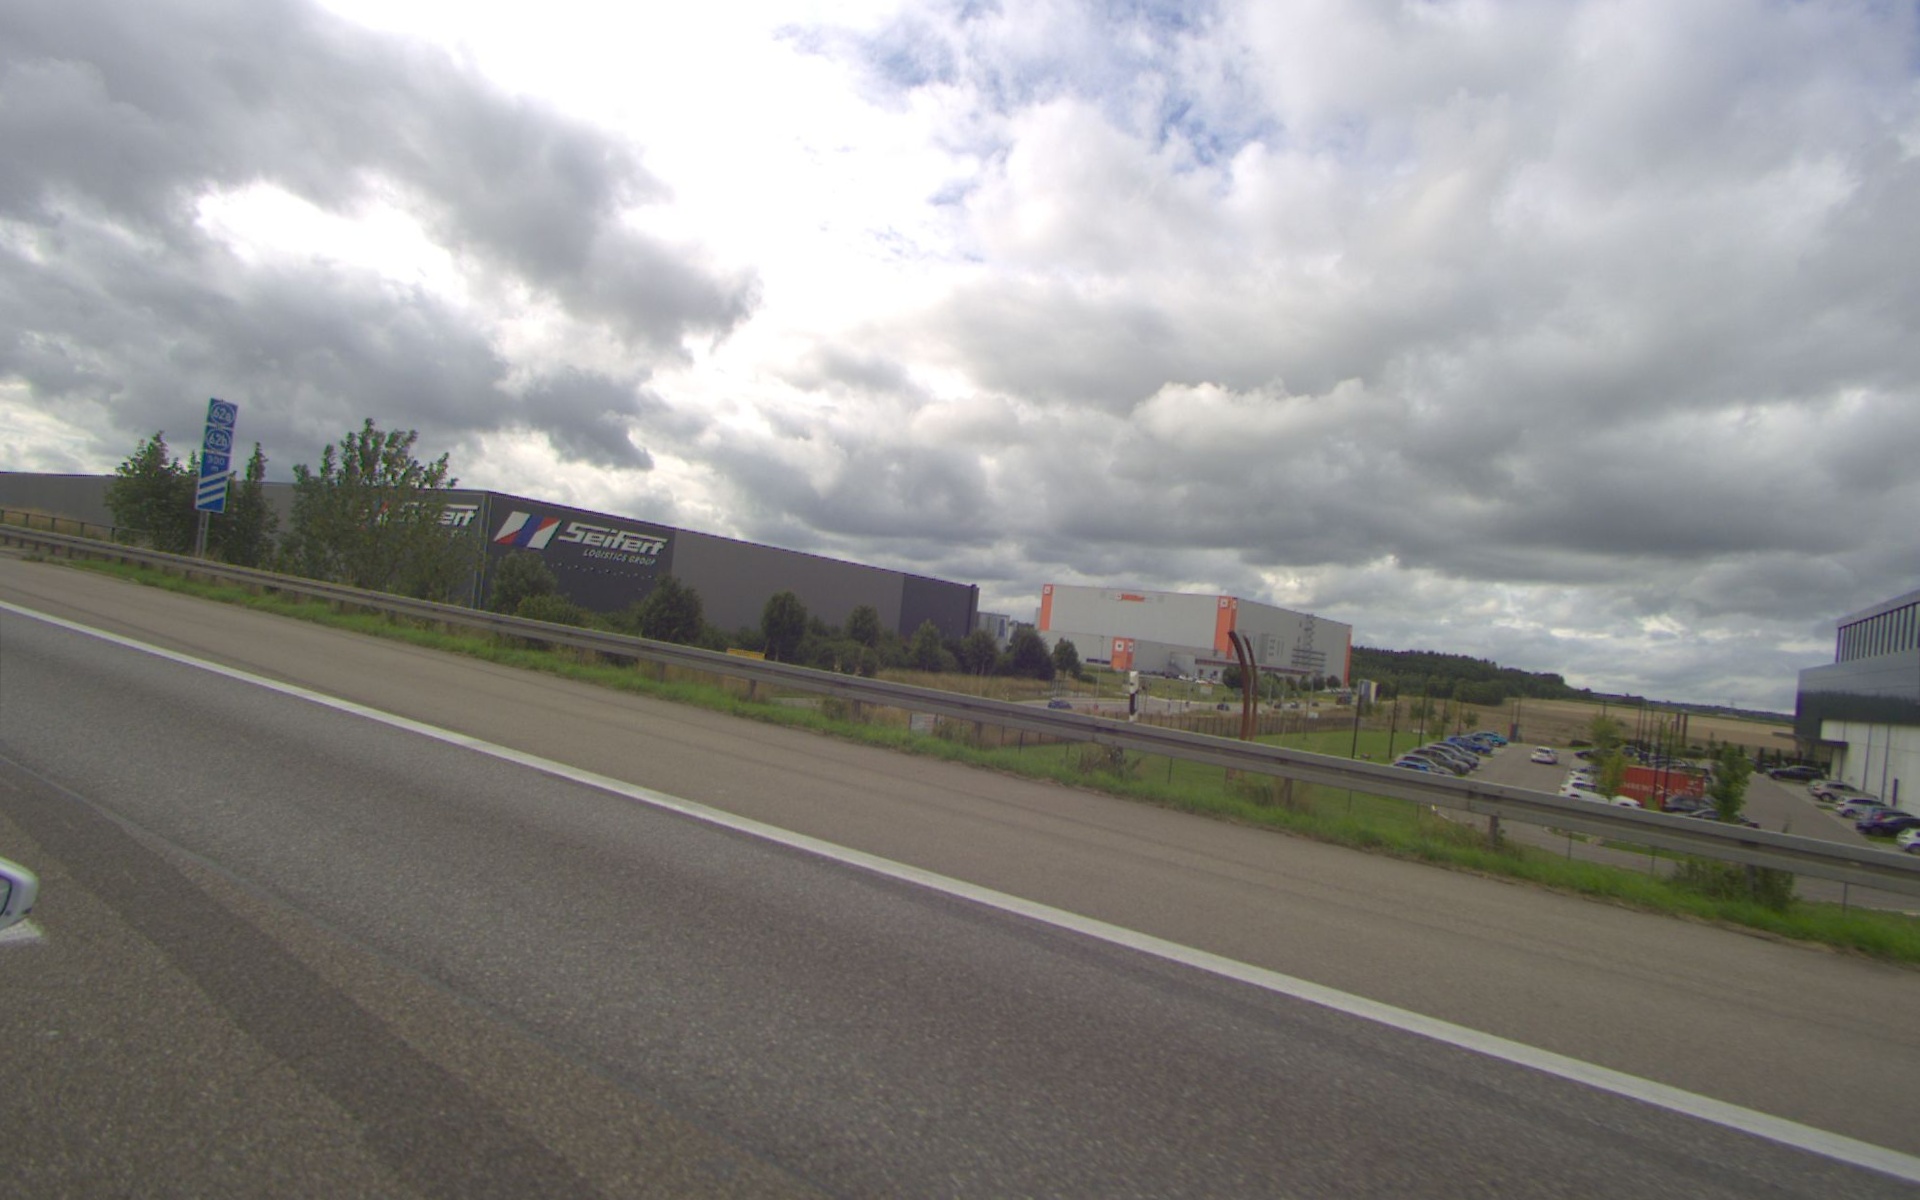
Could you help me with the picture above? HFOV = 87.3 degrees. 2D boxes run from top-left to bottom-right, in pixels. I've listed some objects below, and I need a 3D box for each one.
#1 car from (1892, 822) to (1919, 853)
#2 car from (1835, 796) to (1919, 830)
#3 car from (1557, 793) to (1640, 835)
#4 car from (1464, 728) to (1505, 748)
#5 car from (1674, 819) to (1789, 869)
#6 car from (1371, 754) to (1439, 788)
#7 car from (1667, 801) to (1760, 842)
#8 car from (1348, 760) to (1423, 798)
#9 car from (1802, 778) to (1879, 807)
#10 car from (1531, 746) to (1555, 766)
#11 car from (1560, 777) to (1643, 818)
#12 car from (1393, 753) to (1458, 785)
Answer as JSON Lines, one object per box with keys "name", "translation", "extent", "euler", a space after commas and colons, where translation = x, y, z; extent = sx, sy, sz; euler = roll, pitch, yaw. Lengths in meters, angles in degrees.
{"name": "car", "translation": [57.570, 14.217, 58.545], "extent": [4.488, 1.511, 1.679], "euler": [6, -3, 32]}
{"name": "car", "translation": [67.010, 15.495, 73.325], "extent": [4.488, 1.511, 1.679], "euler": [6, -3, 32]}
{"name": "car", "translation": [36.739, 12.280, 57.981], "extent": [3.881, 1.511, 1.679], "euler": [6, -3, 31]}
{"name": "car", "translation": [58.425, 15.338, 112.110], "extent": [3.930, 1.511, 1.681], "euler": [7, -3, 27]}
{"name": "car", "translation": [40.166, 12.690, 52.518], "extent": [4.488, 1.511, 1.679], "euler": [6, -3, 32]}
{"name": "car", "translation": [30.167, 11.541, 68.179], "extent": [3.934, 1.511, 1.679], "euler": [6, -3, 31]}
{"name": "car", "translation": [45.363, 13.320, 60.684], "extent": [4.186, 1.511, 1.679], "euler": [6, -3, 32]}
{"name": "car", "translation": [26.144, 10.958, 61.817], "extent": [3.934, 1.511, 1.679], "euler": [6, -3, 31]}
{"name": "car", "translation": [73.231, 16.019, 83.769], "extent": [4.488, 1.511, 1.679], "euler": [5, -3, 31]}
{"name": "car", "translation": [55.073, 14.722, 94.990], "extent": [1.653, 1.511, 3.995], "euler": [6, -3, 33]}
{"name": "car", "translation": [42.145, 12.936, 66.170], "extent": [4.395, 1.721, 1.679], "euler": [6, -3, 32]}
{"name": "car", "translation": [33.379, 12.086, 72.095], "extent": [3.934, 1.511, 1.679], "euler": [6, -3, 31]}
